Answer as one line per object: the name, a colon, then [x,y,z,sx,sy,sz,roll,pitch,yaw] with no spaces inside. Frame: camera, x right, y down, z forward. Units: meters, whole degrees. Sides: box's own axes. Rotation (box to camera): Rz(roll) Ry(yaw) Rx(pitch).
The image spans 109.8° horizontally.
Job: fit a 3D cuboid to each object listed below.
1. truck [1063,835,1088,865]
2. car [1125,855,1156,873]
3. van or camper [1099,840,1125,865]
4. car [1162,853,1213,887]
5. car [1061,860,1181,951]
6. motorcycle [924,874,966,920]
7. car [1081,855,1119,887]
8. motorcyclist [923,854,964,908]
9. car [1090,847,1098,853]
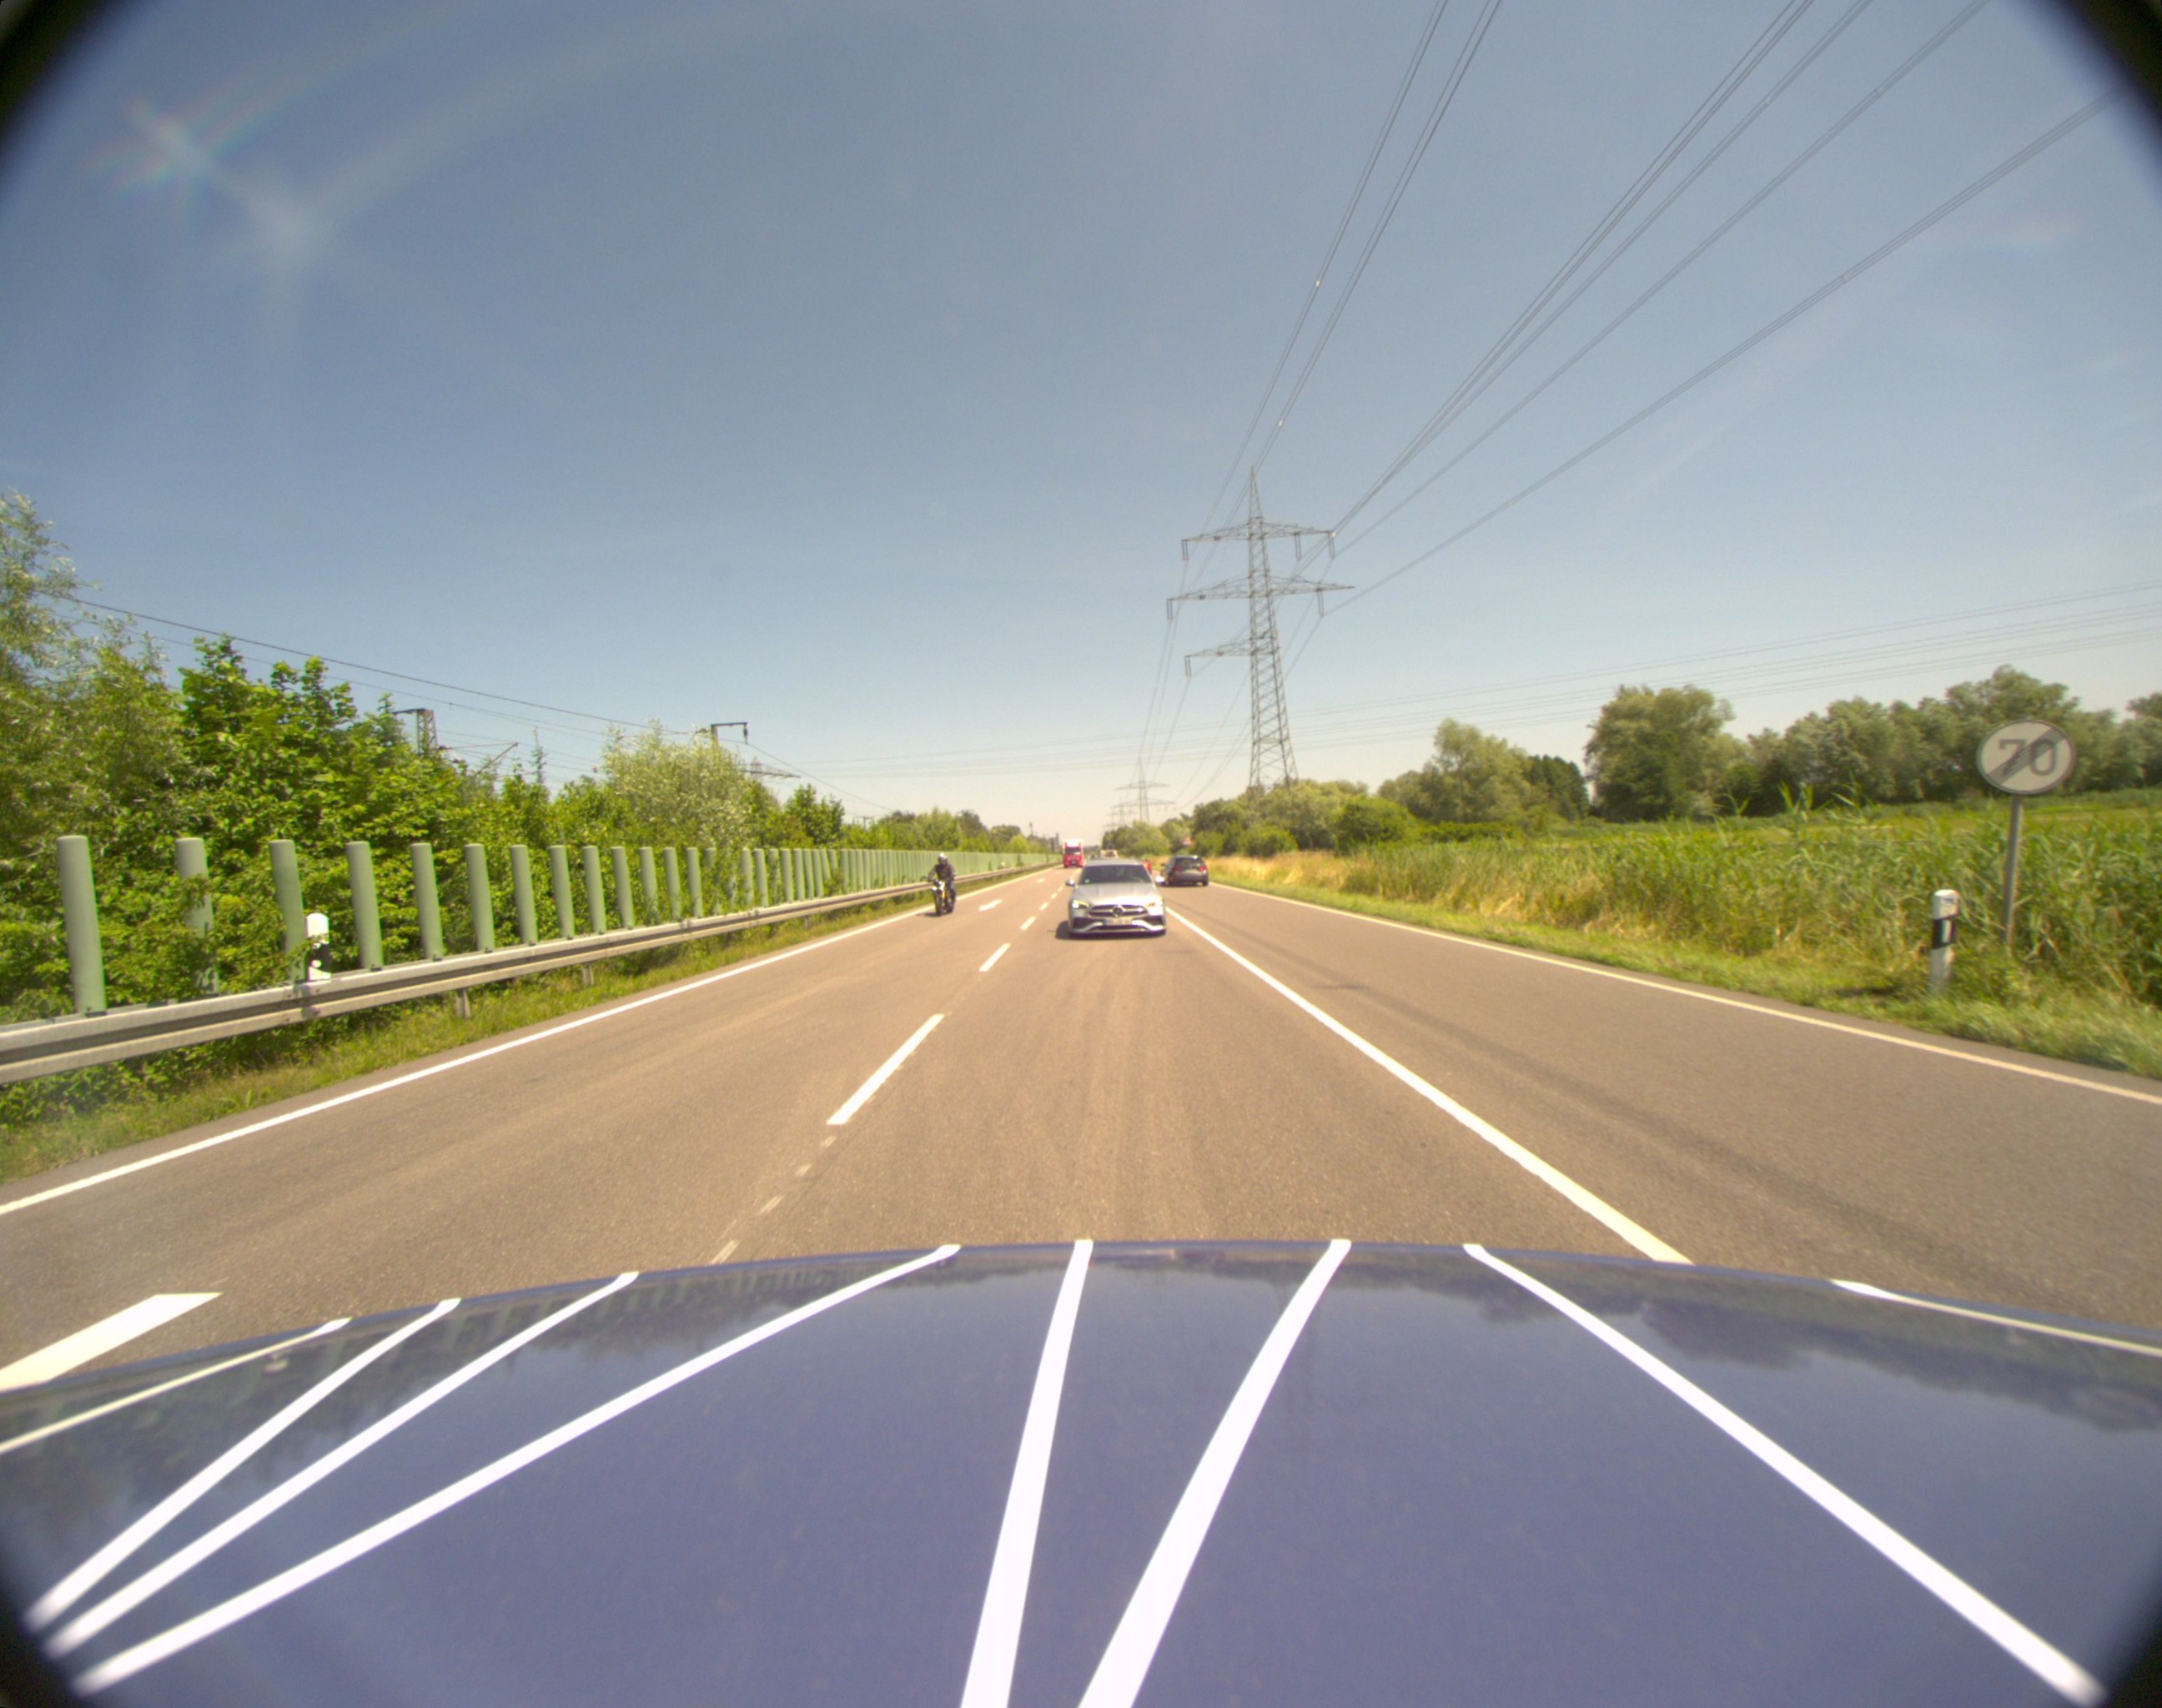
truck: [-0.651,-0.562,99.474,2.907,3.641,7.156,-4,0,1]
car: [4.367,0.712,56.408,1.864,1.221,4.322,-2,0,-1]
van or camper: [3.872,-0.239,95.651,2.578,2.865,6.744,-2,1,-3]
car: [4.919,0.686,35.617,1.749,1.425,4.322,-2,0,-1]
car: [0.731,0.897,15.214,1.998,1.437,4.467,-2,0,1]
motorcycle: [-3.817,1.190,21.497,0.792,1.151,1.901,-3,0,0]
car: [0.928,0.781,36.875,1.697,1.385,4.468,-2,0,2]
motorcyclist: [-3.902,0.740,21.646,0.892,1.468,1.002,-2,1,1]
car: [4.332,-1.280,250.584,2.145,2.002,4.568,-3,0,-1]
